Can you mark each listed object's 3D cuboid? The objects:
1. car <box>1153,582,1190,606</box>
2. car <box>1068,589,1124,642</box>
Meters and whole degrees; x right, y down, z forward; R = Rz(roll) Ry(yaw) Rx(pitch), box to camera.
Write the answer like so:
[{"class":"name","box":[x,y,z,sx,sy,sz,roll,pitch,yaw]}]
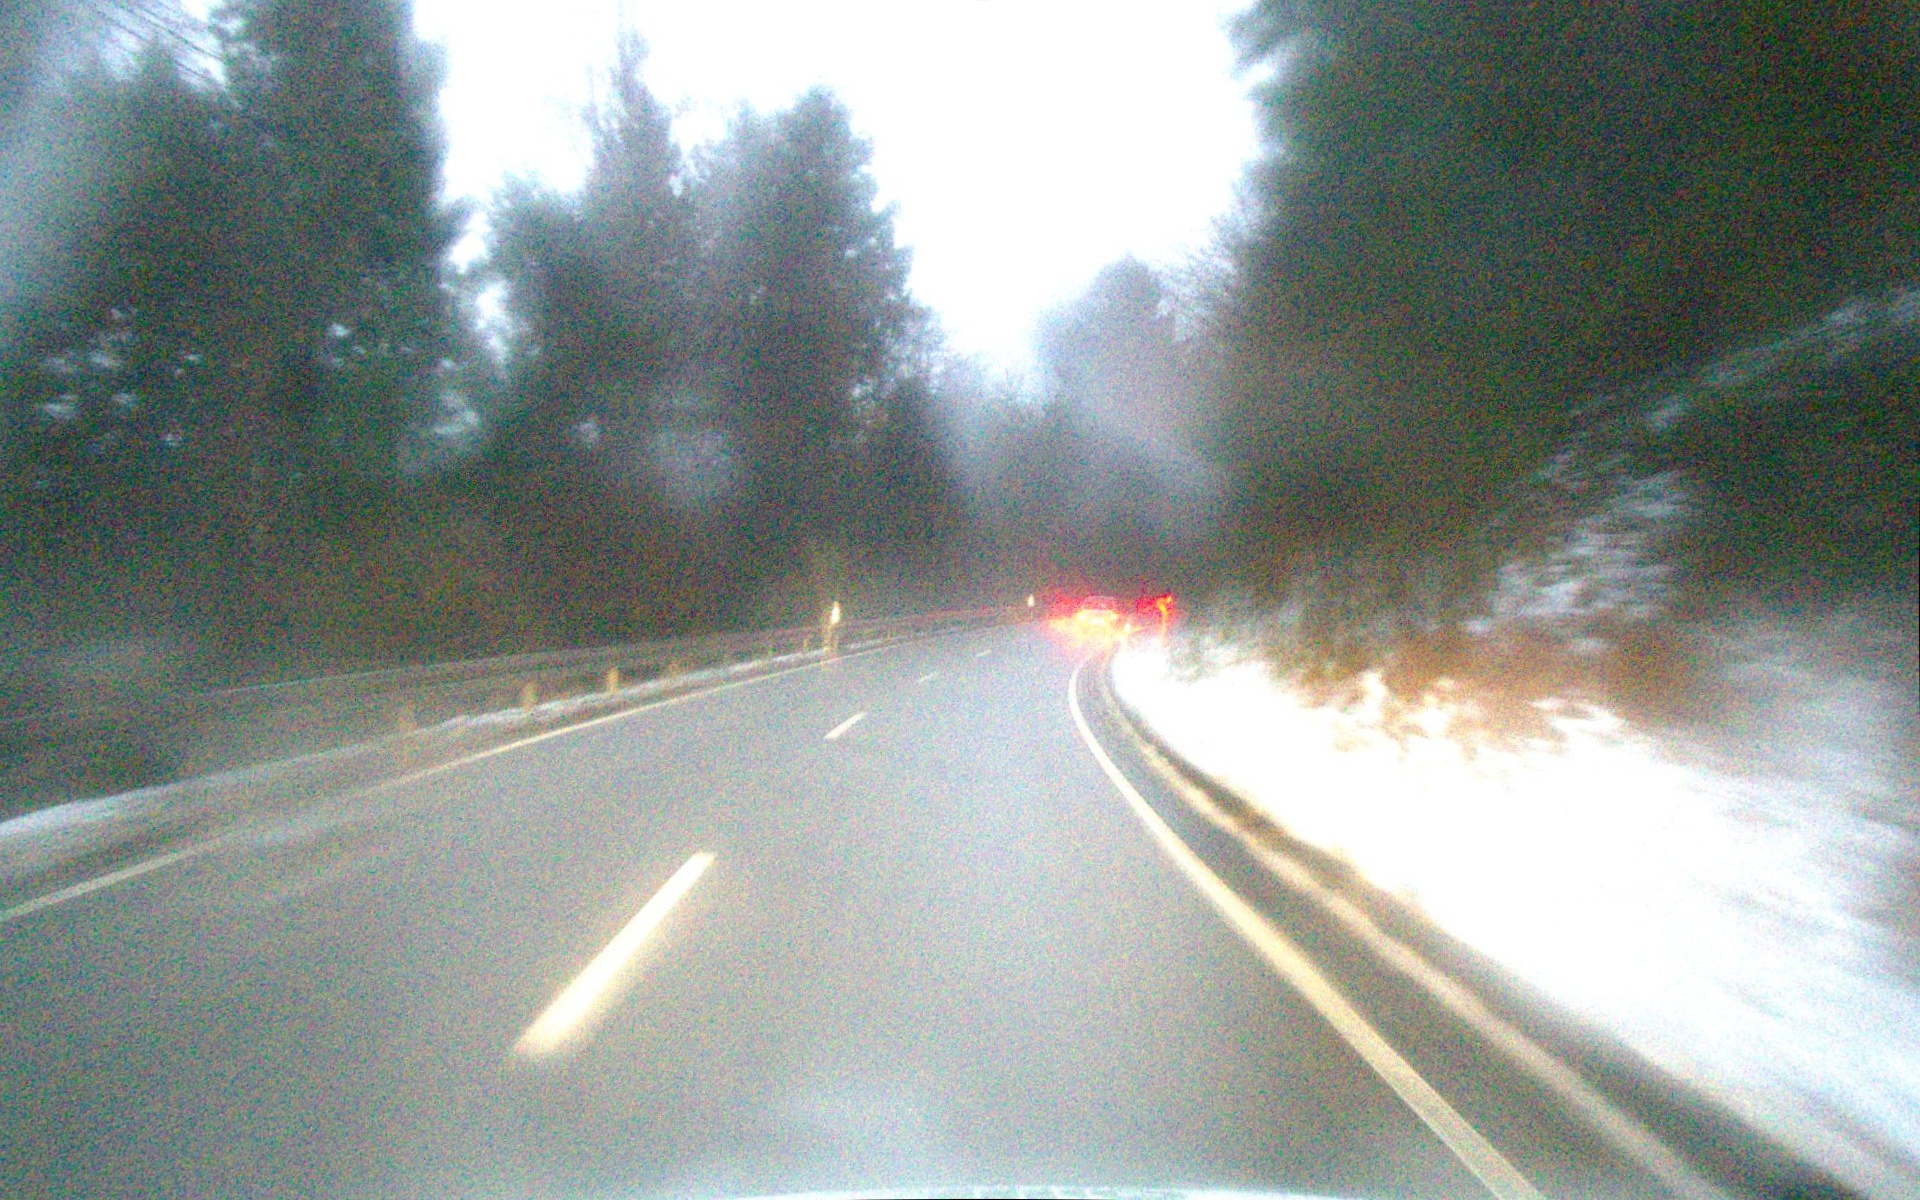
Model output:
[{"class":"car","box":[12.714,-0.393,99.705,1.952,1.333,4.002,-2,0,4]},{"class":"car","box":[5.343,0.585,64.653,1.951,1.905,4.003,-2,0,7]}]
